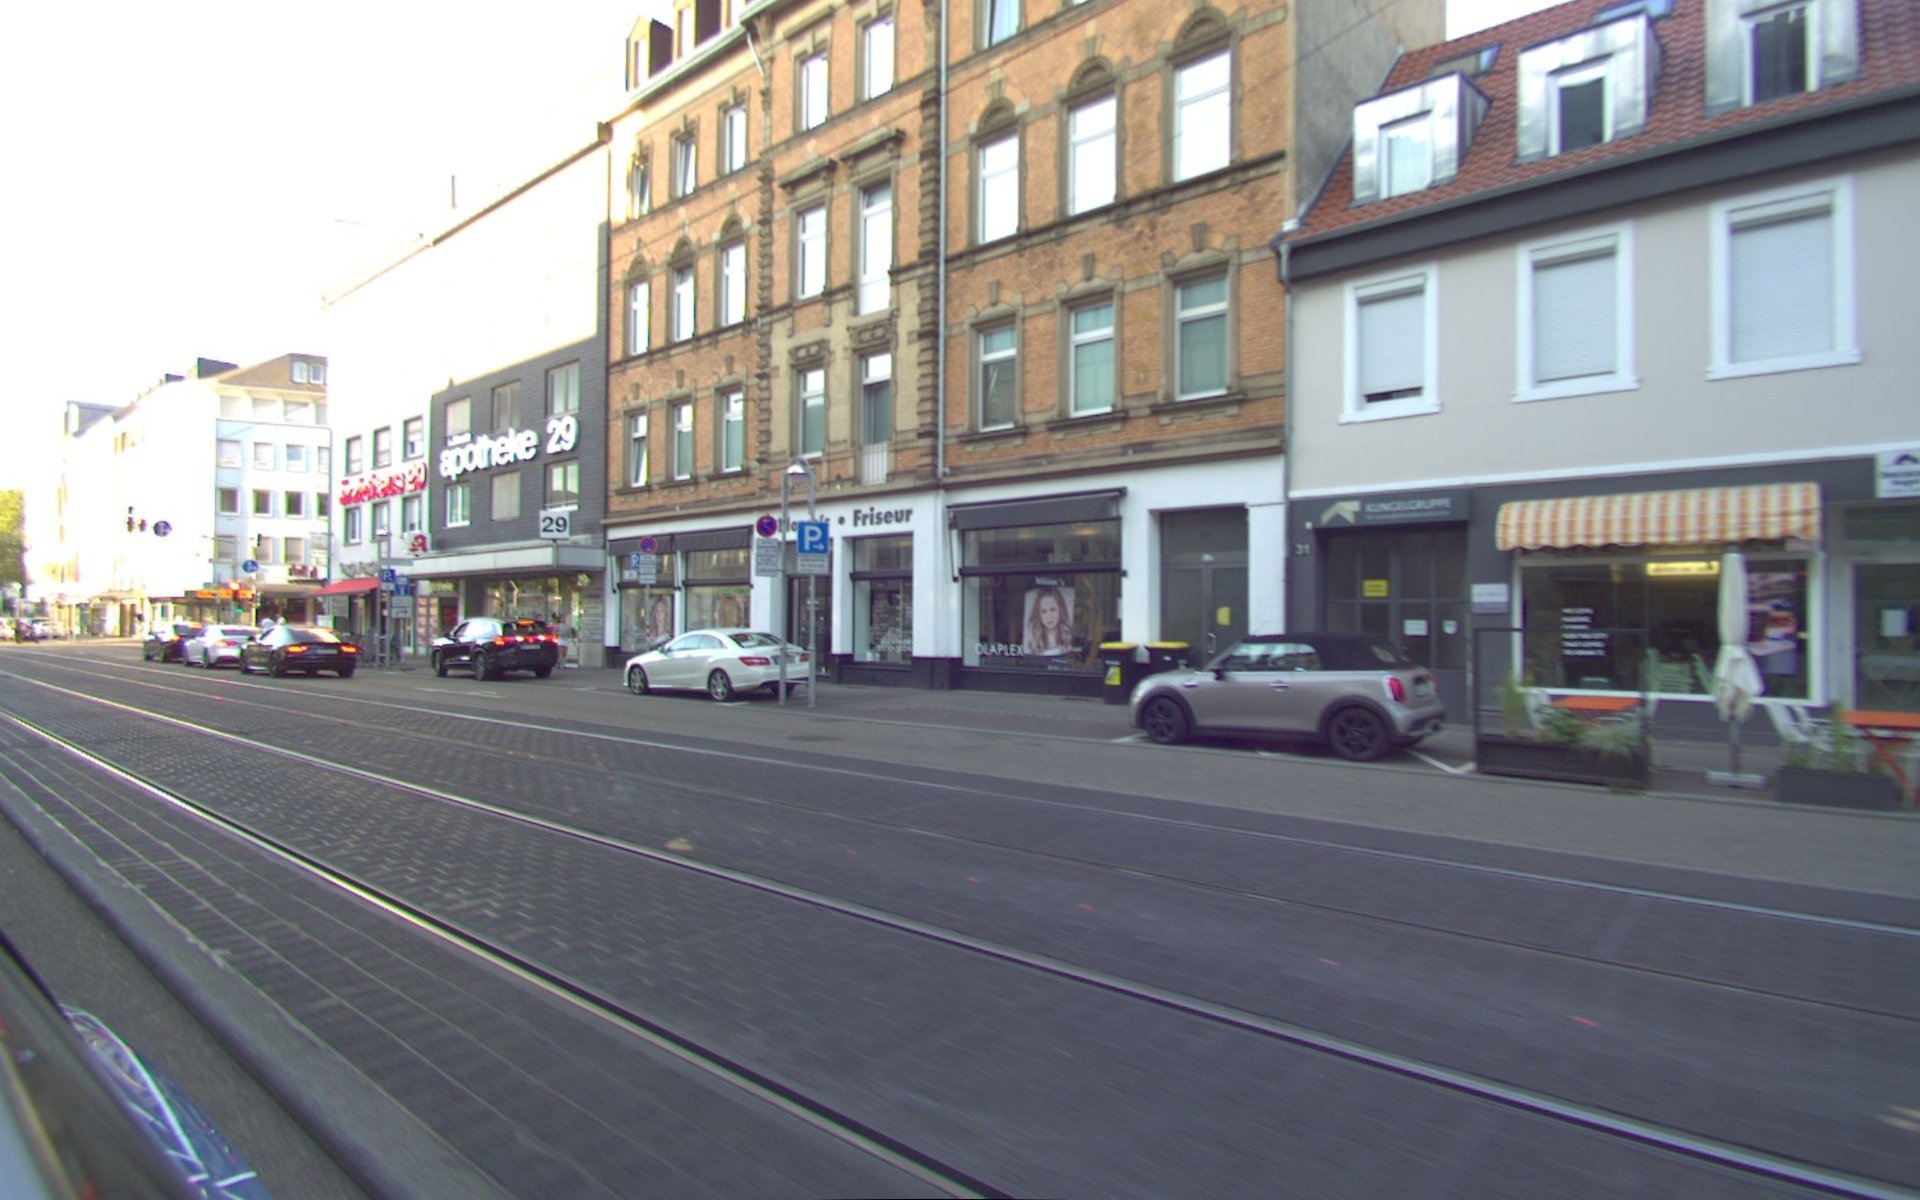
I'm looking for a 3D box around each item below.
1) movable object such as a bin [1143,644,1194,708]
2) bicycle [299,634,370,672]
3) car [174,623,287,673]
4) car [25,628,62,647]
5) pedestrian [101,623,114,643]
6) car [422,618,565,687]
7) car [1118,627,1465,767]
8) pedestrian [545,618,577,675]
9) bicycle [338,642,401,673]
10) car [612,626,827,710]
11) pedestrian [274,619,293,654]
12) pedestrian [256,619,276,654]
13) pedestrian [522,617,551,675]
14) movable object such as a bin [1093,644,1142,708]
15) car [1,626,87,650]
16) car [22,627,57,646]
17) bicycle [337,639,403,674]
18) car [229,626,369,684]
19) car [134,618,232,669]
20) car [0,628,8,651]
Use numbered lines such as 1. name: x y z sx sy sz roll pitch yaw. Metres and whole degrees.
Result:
1. movable object such as a bin: 3.592 1.297 17.471 0.694 1.041 0.490 -1 0 41
2. bicycle: -22.544 1.885 36.498 0.553 1.233 2.090 -1 0 41
3. car: -23.681 1.530 32.801 4.655 1.464 1.972 -1 -4 42
4. car: -67.853 2.769 74.915 3.387 1.263 1.615 -2 0 41
5. pedestrian: -65.009 2.519 77.168 0.621 1.483 0.539 -2 1 25
6. car: -12.645 1.358 27.296 4.646 1.687 1.909 -2 -1 43
7. car: 4.037 1.091 12.695 3.811 1.451 1.581 -2 0 42
8. pedestrian: -12.046 1.400 30.554 0.624 1.673 0.675 -2 -2 41
9. bicycle: -19.954 1.940 34.221 0.455 0.919 1.786 -3 -1 41
10. car: -5.042 1.316 20.890 4.604 1.464 1.851 -1 0 38
11. pedestrian: -35.109 1.881 52.502 0.599 1.792 0.630 -1 -2 37
12. pedestrian: -35.507 1.854 51.797 0.667 1.758 0.631 -1 -2 36
13. pedestrian: -12.602 1.363 30.122 0.602 1.712 0.614 -2 -2 41
14. movable object such as a bin: 2.731 1.314 17.574 0.659 1.051 0.512 -1 0 41
15. car: -53.586 2.232 59.252 1.593 1.344 3.452 -1 -2 32
16. car: -71.231 2.863 78.281 3.387 1.364 1.615 -2 0 41
17. bicycle: -19.555 1.855 33.562 0.489 1.055 1.812 -3 -1 41
18. car: -18.294 1.481 27.933 4.645 1.464 1.973 -1 -3 40
19. car: -28.298 1.574 36.816 4.727 1.740 1.972 -1 -4 42
20. car: -64.290 2.612 66.903 1.692 1.483 3.992 3 -3 -39
